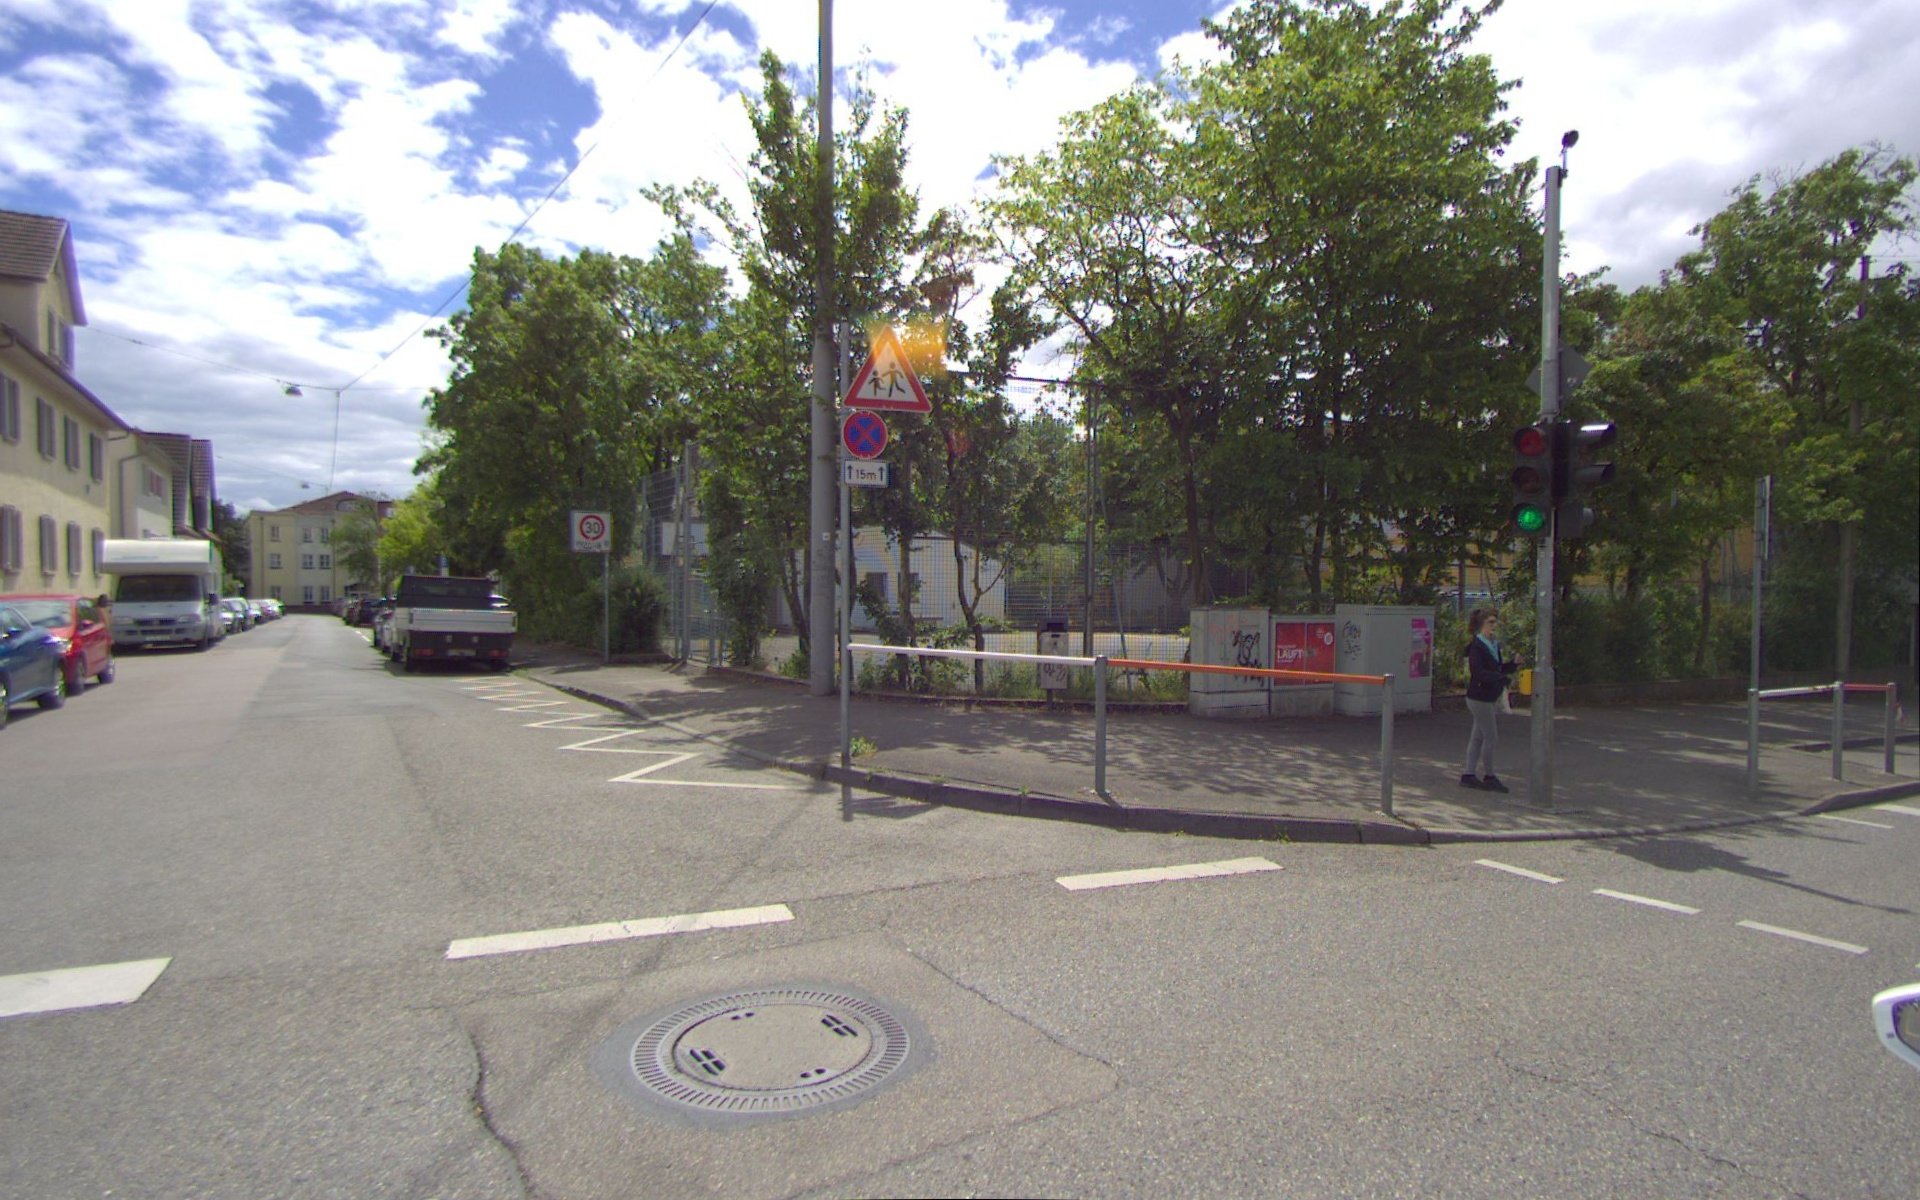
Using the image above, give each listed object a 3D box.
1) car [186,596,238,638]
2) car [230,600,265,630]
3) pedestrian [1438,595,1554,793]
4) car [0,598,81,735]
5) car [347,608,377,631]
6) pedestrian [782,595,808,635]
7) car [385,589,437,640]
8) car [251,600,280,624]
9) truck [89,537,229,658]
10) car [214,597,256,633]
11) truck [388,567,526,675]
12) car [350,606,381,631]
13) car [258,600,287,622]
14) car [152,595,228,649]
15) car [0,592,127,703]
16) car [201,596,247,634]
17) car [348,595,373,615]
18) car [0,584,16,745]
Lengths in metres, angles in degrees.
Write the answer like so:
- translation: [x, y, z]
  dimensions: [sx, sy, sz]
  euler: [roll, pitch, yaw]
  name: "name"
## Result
- translation: [-31.162, 0.684, 41.936]
  dimensions: [1.459, 1.663, 3.410]
  euler: [2, -1, -33]
  name: "car"
- translation: [-41.543, 0.843, 58.628]
  dimensions: [1.459, 1.663, 3.410]
  euler: [2, -1, -33]
  name: "car"
- translation: [4.652, 0.780, 8.771]
  dimensions: [0.758, 1.618, 0.672]
  euler: [2, 1, 21]
  name: "pedestrian"
- translation: [-11.468, 0.702, 11.355]
  dimensions: [1.583, 1.419, 3.764]
  euler: [-1, 1, -30]
  name: "car"
- translation: [-34.368, 1.102, 57.706]
  dimensions: [1.276, 1.269, 3.021]
  euler: [2, -1, -34]
  name: "car"
- translation: [-6.214, 0.556, 37.890]
  dimensions: [0.698, 1.457, 0.738]
  euler: [2, 2, -31]
  name: "pedestrian"
- translation: [-18.611, 0.474, 34.009]
  dimensions: [1.276, 1.660, 3.021]
  euler: [2, -1, -34]
  name: "car"
- translation: [-49.631, 0.857, 71.825]
  dimensions: [1.458, 1.663, 3.412]
  euler: [2, -1, -31]
  name: "car"
- translation: [-22.389, -0.113, 28.405]
  dimensions: [2.479, 2.966, 7.296]
  euler: [-3, 2, -35]
  name: "truck"
- translation: [-35.792, 0.720, 49.648]
  dimensions: [1.459, 1.663, 3.410]
  euler: [2, -1, -33]
  name: "car"
- translation: [-11.024, 0.429, 21.816]
  dimensions: [2.122, 2.062, 5.006]
  euler: [2, -1, -33]
  name: "truck"
- translation: [-31.836, 0.966, 53.745]
  dimensions: [1.276, 1.269, 3.021]
  euler: [2, -1, -34]
  name: "car"
- translation: [-52.441, 0.820, 76.669]
  dimensions: [1.458, 1.663, 3.413]
  euler: [2, -1, -30]
  name: "car"
- translation: [-25.823, 0.720, 33.779]
  dimensions: [1.676, 1.706, 3.493]
  euler: [2, -1, -33]
  name: "car"
- translation: [-14.009, 0.653, 15.364]
  dimensions: [1.534, 1.492, 3.578]
  euler: [-2, 1, -34]
  name: "car"
- translation: [-33.449, 0.651, 45.710]
  dimensions: [1.459, 1.663, 3.410]
  euler: [2, -1, -33]
  name: "car"
- translation: [-39.773, 0.333, 66.650]
  dimensions: [1.276, 1.269, 3.021]
  euler: [2, -1, -34]
  name: "car"
- translation: [-8.987, 0.637, 7.678]
  dimensions: [1.838, 1.497, 3.964]
  euler: [-1, 1, -33]
  name: "car"
